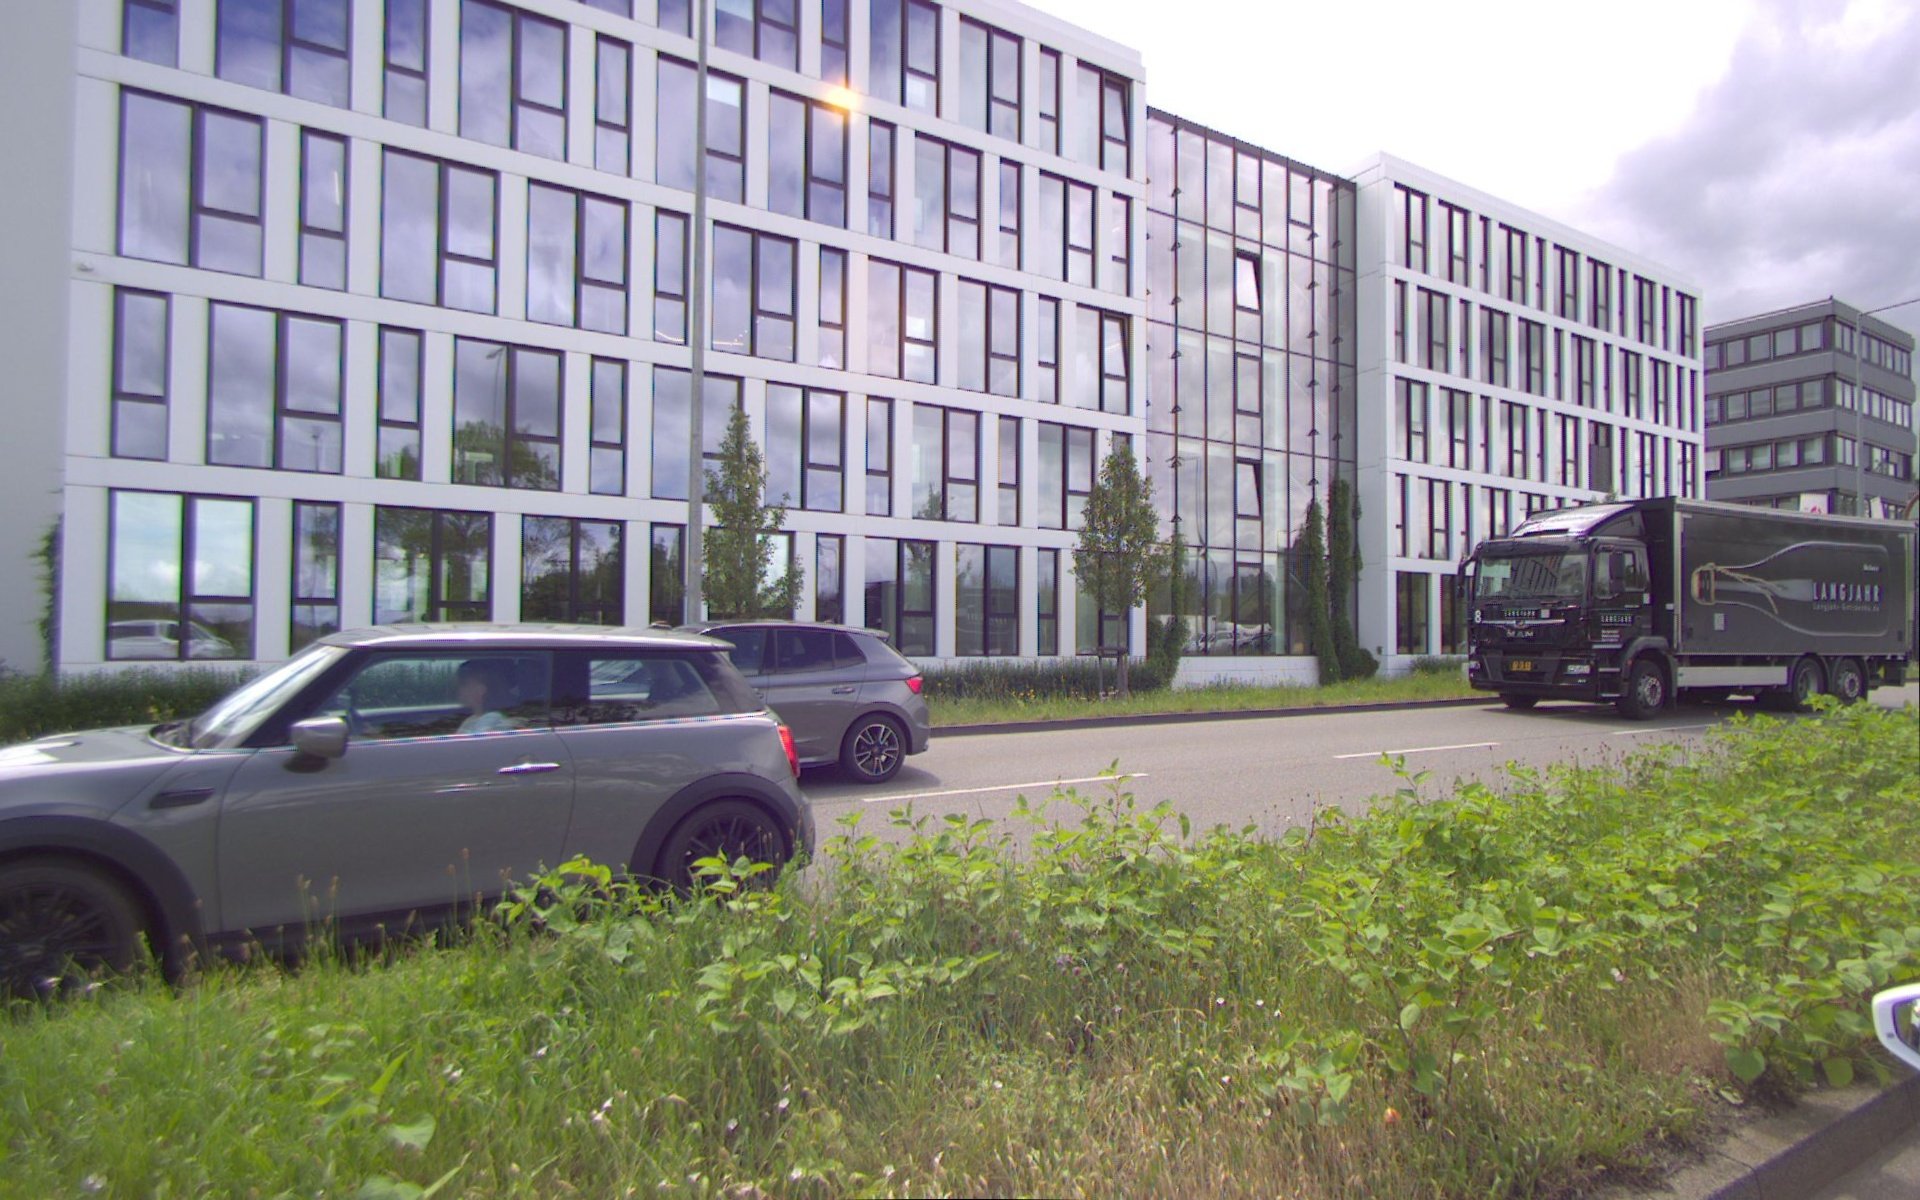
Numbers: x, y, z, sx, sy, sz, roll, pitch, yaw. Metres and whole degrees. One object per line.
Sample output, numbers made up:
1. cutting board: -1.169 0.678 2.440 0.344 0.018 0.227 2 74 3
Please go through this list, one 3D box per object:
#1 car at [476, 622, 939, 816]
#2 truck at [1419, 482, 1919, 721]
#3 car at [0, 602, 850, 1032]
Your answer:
1. car: -2.186 0.907 8.904 3.733 1.401 1.547 1 -1 -29
2. truck: 13.130 0.083 18.359 9.392 3.565 3.159 1 0 -24
3. car: -2.512 0.779 4.810 3.593 1.449 1.681 1 -2 -30
